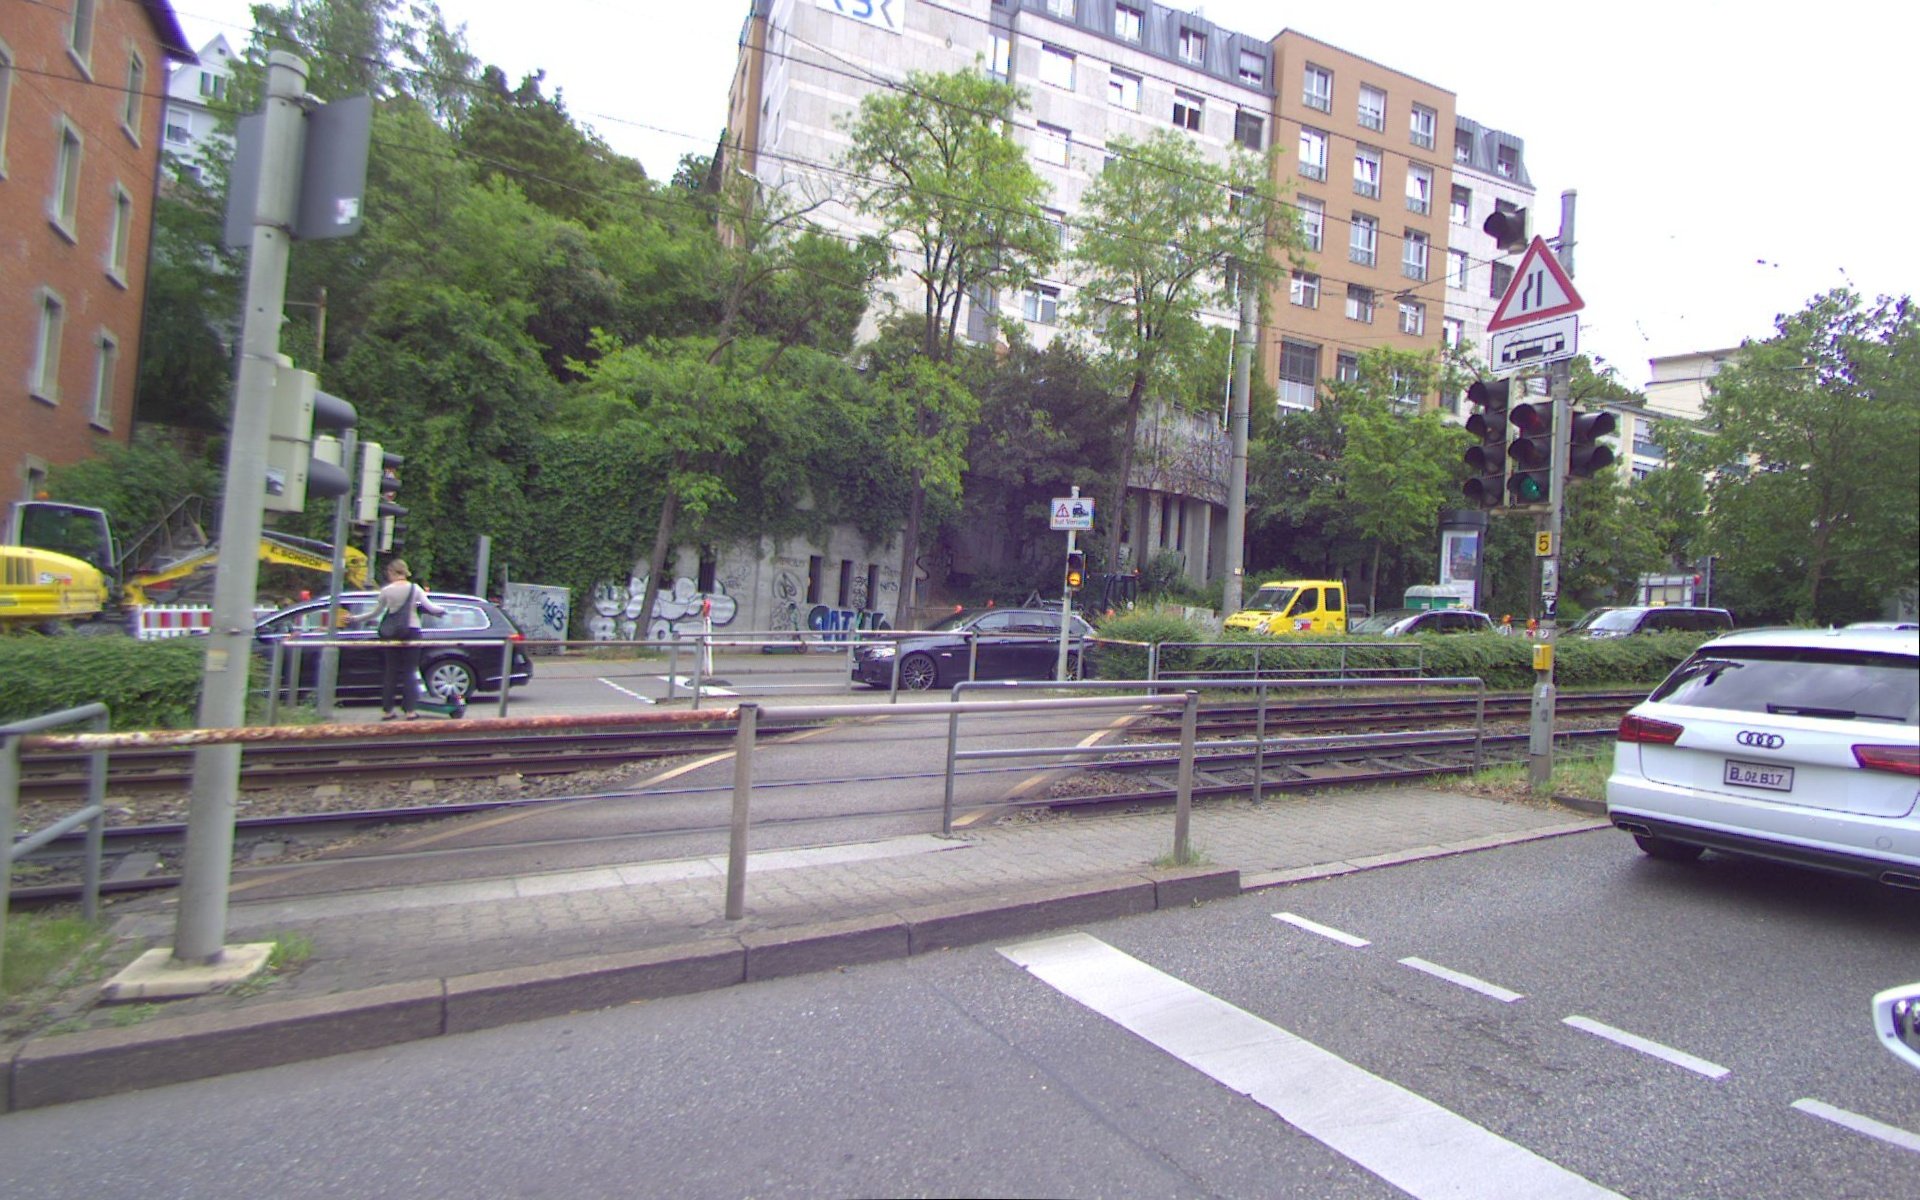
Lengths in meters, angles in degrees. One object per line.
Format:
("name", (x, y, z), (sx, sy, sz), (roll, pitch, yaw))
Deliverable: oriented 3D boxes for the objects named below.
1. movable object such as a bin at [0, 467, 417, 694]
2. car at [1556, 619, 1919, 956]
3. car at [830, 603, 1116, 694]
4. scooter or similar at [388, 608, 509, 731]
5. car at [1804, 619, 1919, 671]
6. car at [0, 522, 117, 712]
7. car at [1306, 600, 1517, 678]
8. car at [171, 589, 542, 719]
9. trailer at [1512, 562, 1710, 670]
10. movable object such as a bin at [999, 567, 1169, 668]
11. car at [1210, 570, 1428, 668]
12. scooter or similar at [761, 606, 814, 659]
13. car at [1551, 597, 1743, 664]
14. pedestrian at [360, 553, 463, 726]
("movable object such as a bin", (-14.027, -0.252, 18.730), (6.492, 3.595, 2.725), (1, -1, -39))
("car", (5.864, 0.894, 6.241), (4.567, 1.474, 1.868), (1, -1, -33))
("car", (0.264, 0.875, 17.910), (4.780, 1.454, 1.876), (2, -3, -26))
("scooter or similar", (-5.779, 0.748, 11.323), (1.472, 1.313, 0.532), (0, -1, 33))
("car", (27.165, 1.317, 29.866), (3.684, 1.462, 1.656), (1, -1, -22))
("car", (-15.245, 0.154, 12.689), (6.679, 2.468, 2.427), (2, 0, -32))
("car", (10.342, 0.871, 22.965), (4.559, 1.626, 1.987), (1, -1, -26))
("car", (-7.806, 0.667, 13.326), (3.954, 1.481, 1.770), (1, -1, -31))
("trailer", (19.497, 0.495, 30.098), (5.505, 3.013, 2.016), (1, 1, -20))
("movable object such as a bin", (3.276, 0.429, 26.609), (4.041, 2.501, 1.928), (1, 1, -24))
("car", (10.451, 0.571, 29.161), (6.248, 2.628, 2.151), (1, -1, -24))
("scooter or similar", (-4.337, 0.796, 25.320), (1.281, 1.307, 0.424), (0, 0, -39))
("car", (17.863, 0.793, 26.113), (4.543, 1.626, 1.989), (1, -1, -23))
("pedestrian", (-6.125, 0.438, 11.225), (0.730, 1.841, 0.789), (-1, -2, 40))
